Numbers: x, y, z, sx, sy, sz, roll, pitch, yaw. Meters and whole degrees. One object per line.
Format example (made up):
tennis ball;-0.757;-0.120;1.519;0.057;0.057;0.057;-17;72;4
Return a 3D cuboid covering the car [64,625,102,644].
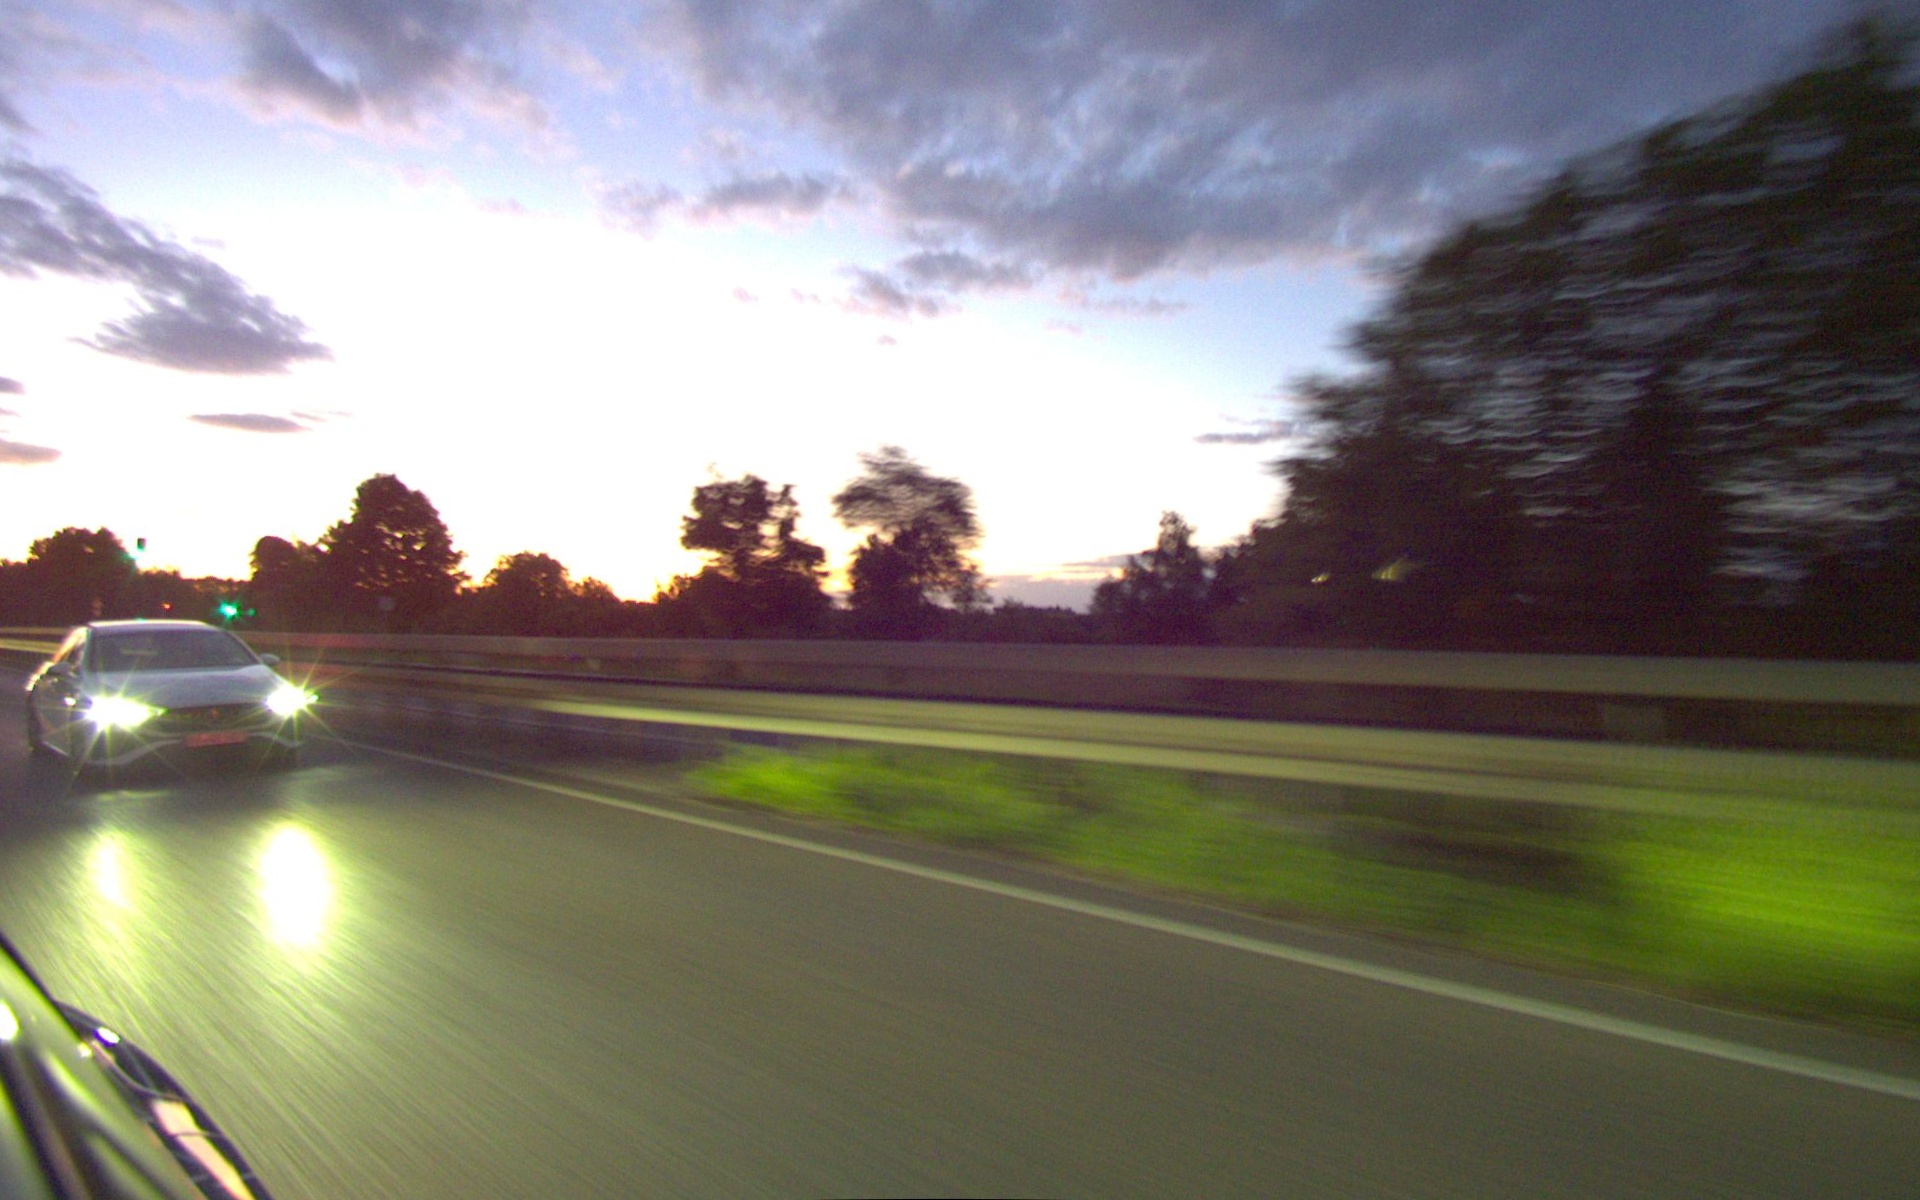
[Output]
car;-69.968;2.725;80.728;4.027;1.395;1.635;-1;0;40

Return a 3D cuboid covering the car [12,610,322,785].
car;-8.621;0.908;10.836;4.644;1.447;1.796;-2;-1;42
